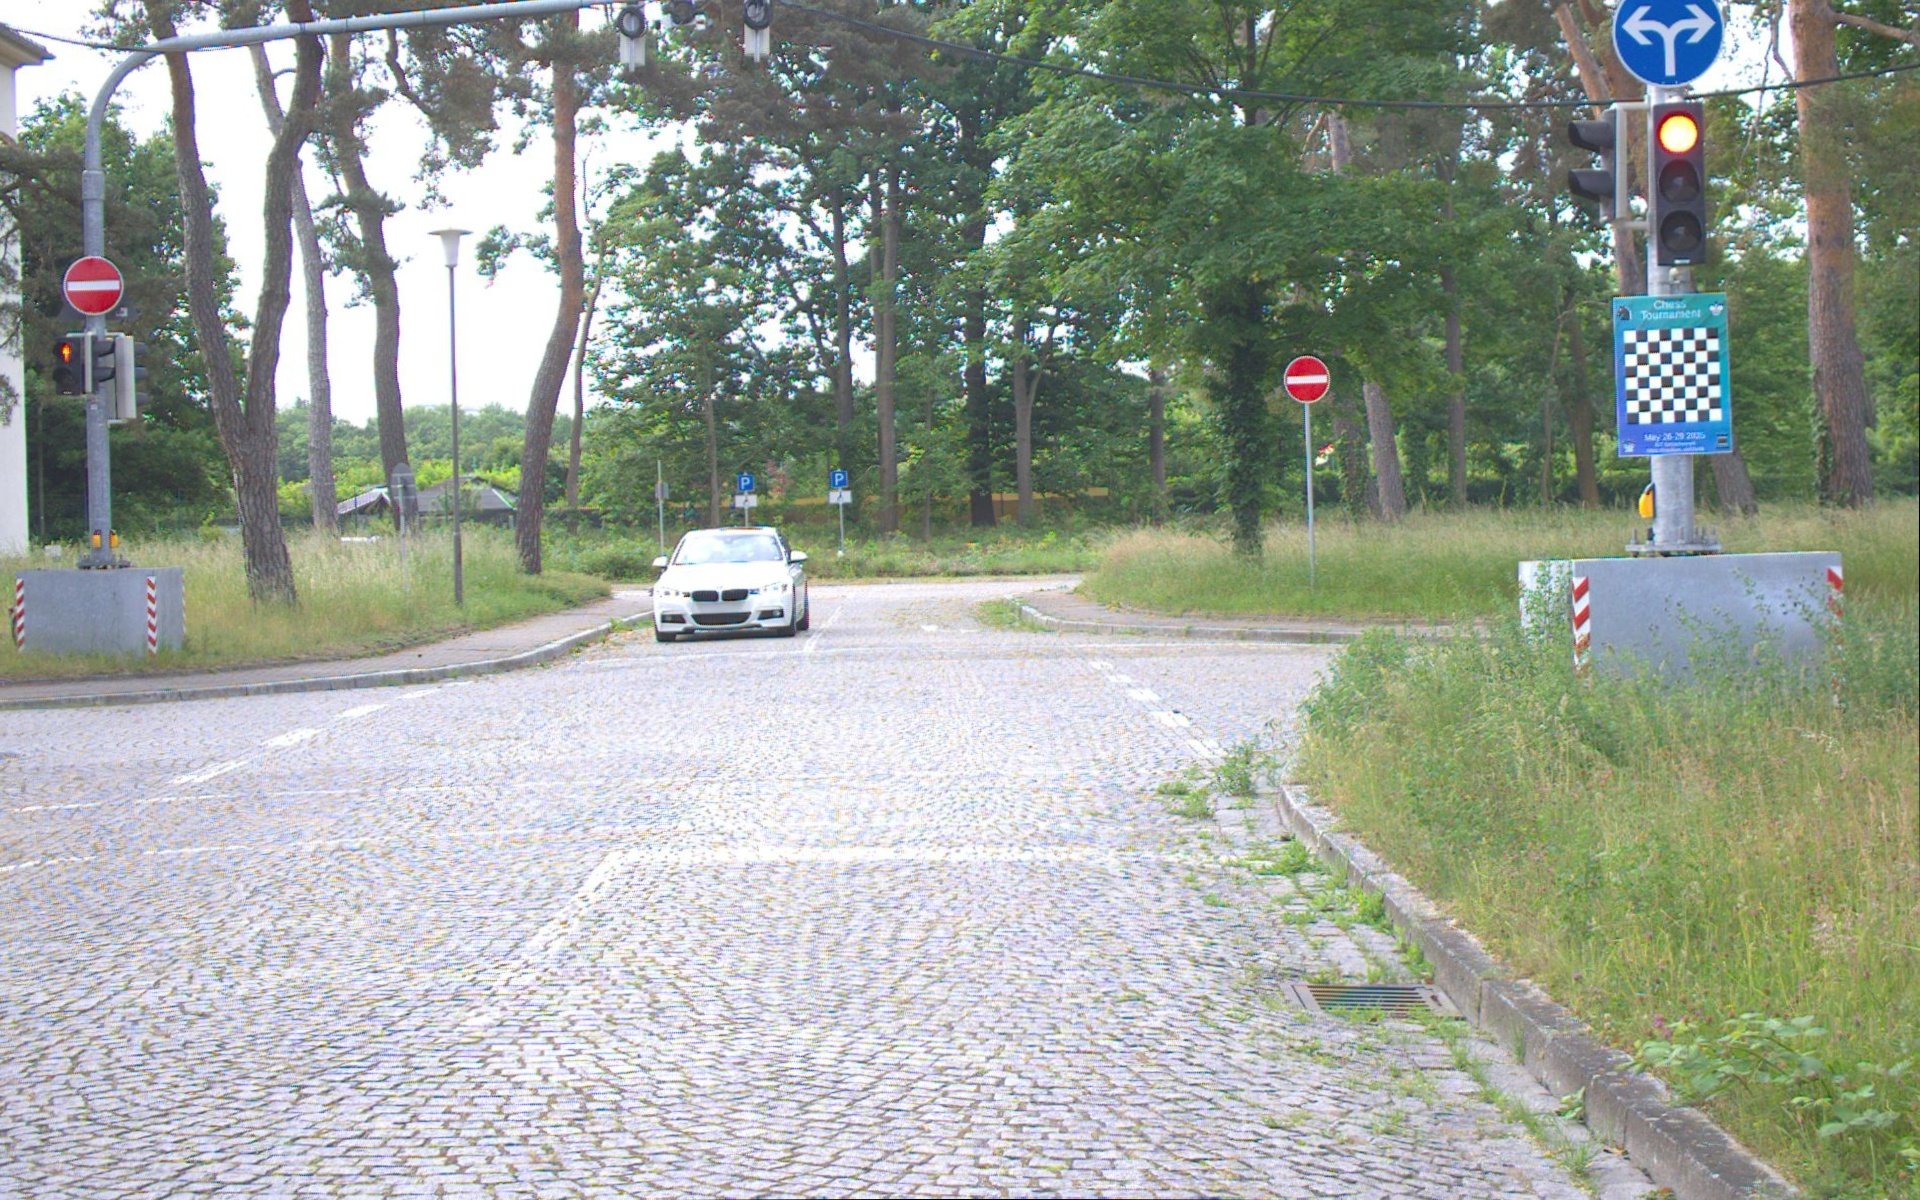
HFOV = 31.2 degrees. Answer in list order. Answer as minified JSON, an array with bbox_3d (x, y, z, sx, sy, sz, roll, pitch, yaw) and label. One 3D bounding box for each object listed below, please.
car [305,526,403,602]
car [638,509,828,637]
[{"bbox_3d":[-15.235,-0.926,86.623,1.993,1.840,4.001,0,1,-3],"label":"car"},{"bbox_3d":[-2.915,-0.385,44.987,1.773,1.433,4.218,-4,2,5],"label":"car"}]
